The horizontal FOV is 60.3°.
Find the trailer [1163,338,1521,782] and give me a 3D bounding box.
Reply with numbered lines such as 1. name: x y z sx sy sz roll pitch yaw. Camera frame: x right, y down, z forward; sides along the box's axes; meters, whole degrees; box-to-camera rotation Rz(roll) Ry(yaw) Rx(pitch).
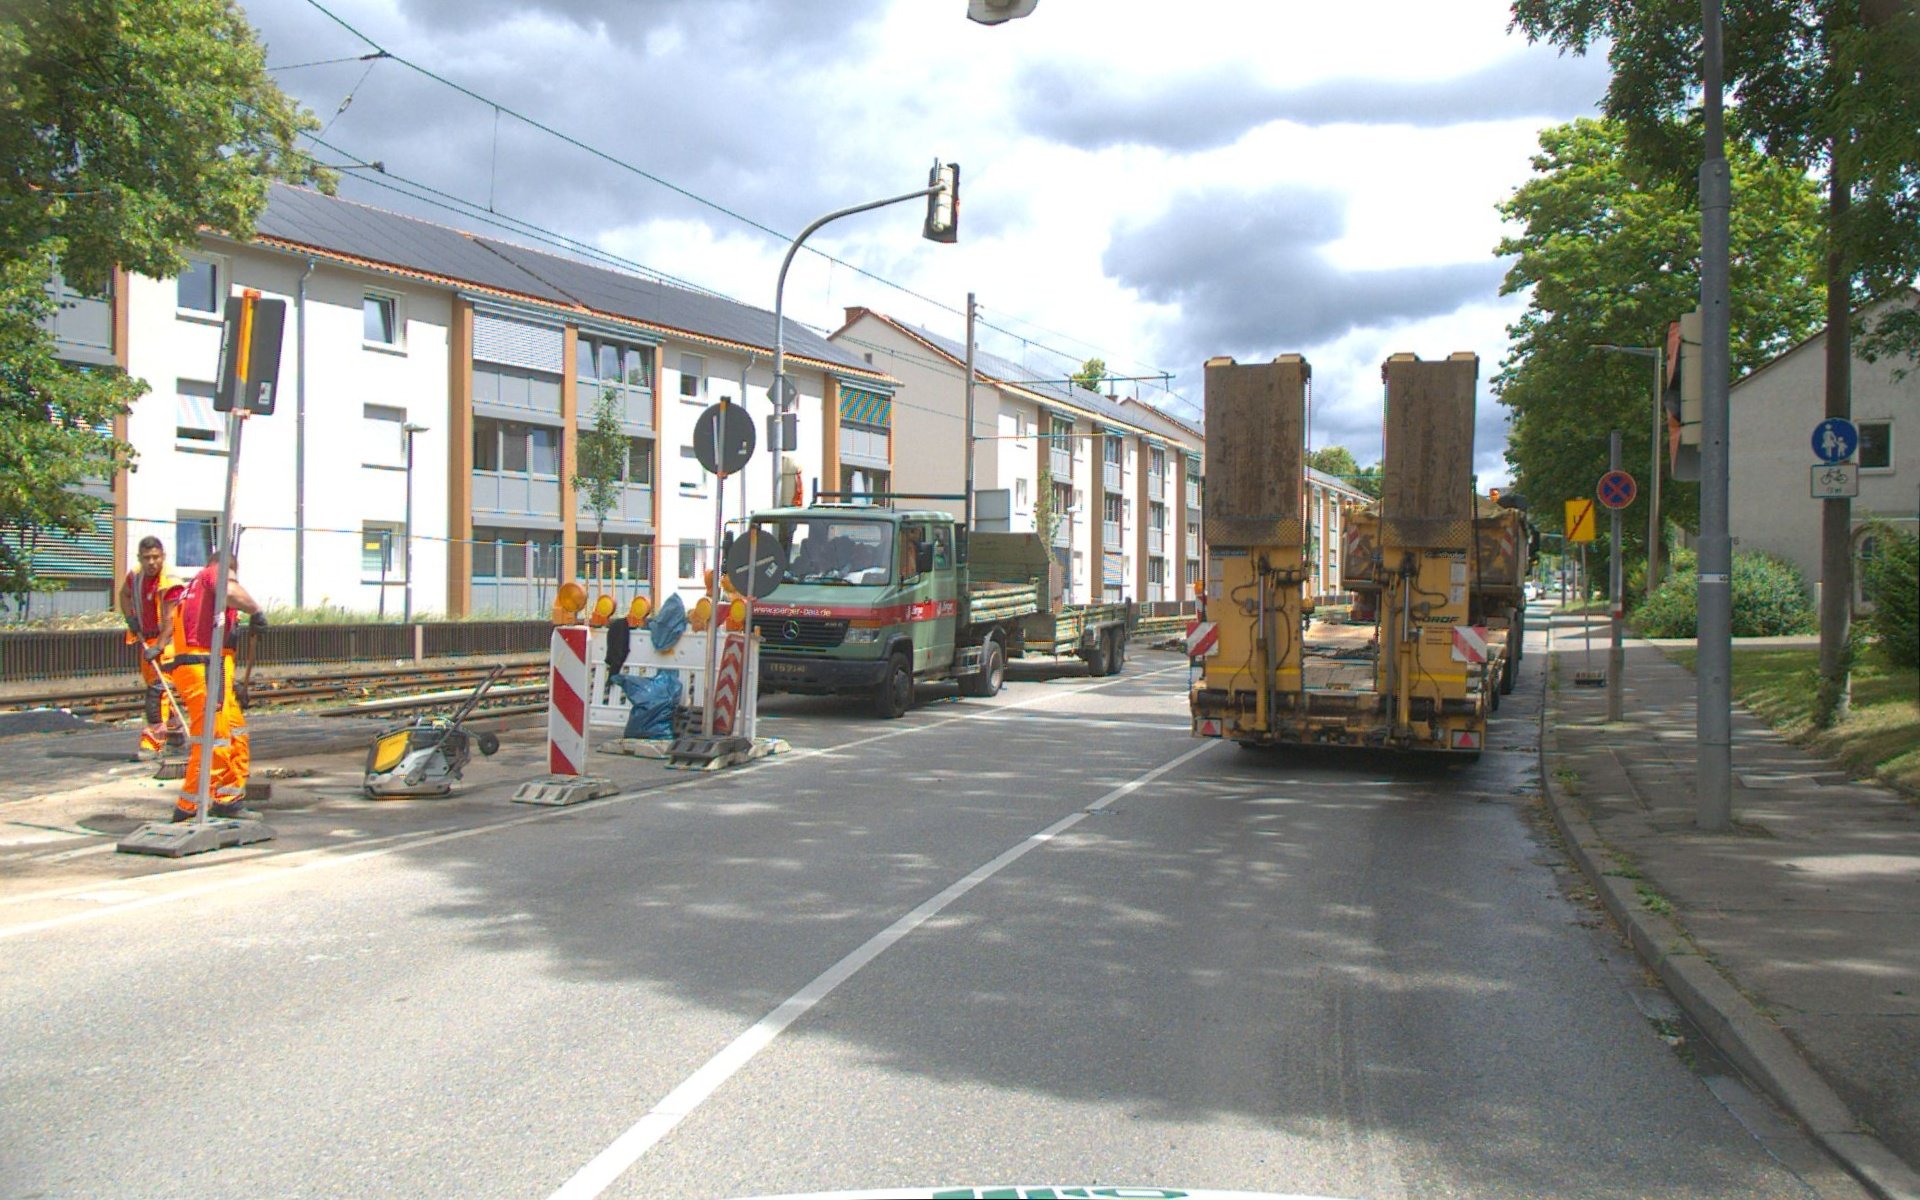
1. trailer: 4.906 -0.409 19.030 2.764 3.585 11.055 1 1 19

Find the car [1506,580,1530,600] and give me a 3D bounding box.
1. car: 44.898 -0.810 133.015 1.617 1.547 3.865 2 1 22

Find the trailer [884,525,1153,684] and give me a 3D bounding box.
1. trailer: 1.161 0.016 27.159 2.607 2.252 6.249 2 1 20

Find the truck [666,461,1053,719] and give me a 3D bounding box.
1. truck: -0.989 -0.175 21.226 2.607 2.772 6.397 2 1 20

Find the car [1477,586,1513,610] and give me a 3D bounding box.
1. car: 34.194 -0.146 105.623 1.841 1.507 4.528 0 1 22

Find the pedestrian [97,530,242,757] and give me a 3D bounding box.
1. pedestrian: -6.118 0.340 12.841 0.690 1.697 0.828 1 -2 -2

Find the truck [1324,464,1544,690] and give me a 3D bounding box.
1. truck: 8.185 -0.404 27.831 2.857 3.222 7.681 2 1 21

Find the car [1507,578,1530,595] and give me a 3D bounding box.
1. car: 49.158 -1.188 145.518 1.646 1.475 4.072 -1 0 23

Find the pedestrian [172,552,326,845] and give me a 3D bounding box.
1. pedestrian: -4.076 0.527 9.491 0.752 1.578 0.894 1 1 -24
